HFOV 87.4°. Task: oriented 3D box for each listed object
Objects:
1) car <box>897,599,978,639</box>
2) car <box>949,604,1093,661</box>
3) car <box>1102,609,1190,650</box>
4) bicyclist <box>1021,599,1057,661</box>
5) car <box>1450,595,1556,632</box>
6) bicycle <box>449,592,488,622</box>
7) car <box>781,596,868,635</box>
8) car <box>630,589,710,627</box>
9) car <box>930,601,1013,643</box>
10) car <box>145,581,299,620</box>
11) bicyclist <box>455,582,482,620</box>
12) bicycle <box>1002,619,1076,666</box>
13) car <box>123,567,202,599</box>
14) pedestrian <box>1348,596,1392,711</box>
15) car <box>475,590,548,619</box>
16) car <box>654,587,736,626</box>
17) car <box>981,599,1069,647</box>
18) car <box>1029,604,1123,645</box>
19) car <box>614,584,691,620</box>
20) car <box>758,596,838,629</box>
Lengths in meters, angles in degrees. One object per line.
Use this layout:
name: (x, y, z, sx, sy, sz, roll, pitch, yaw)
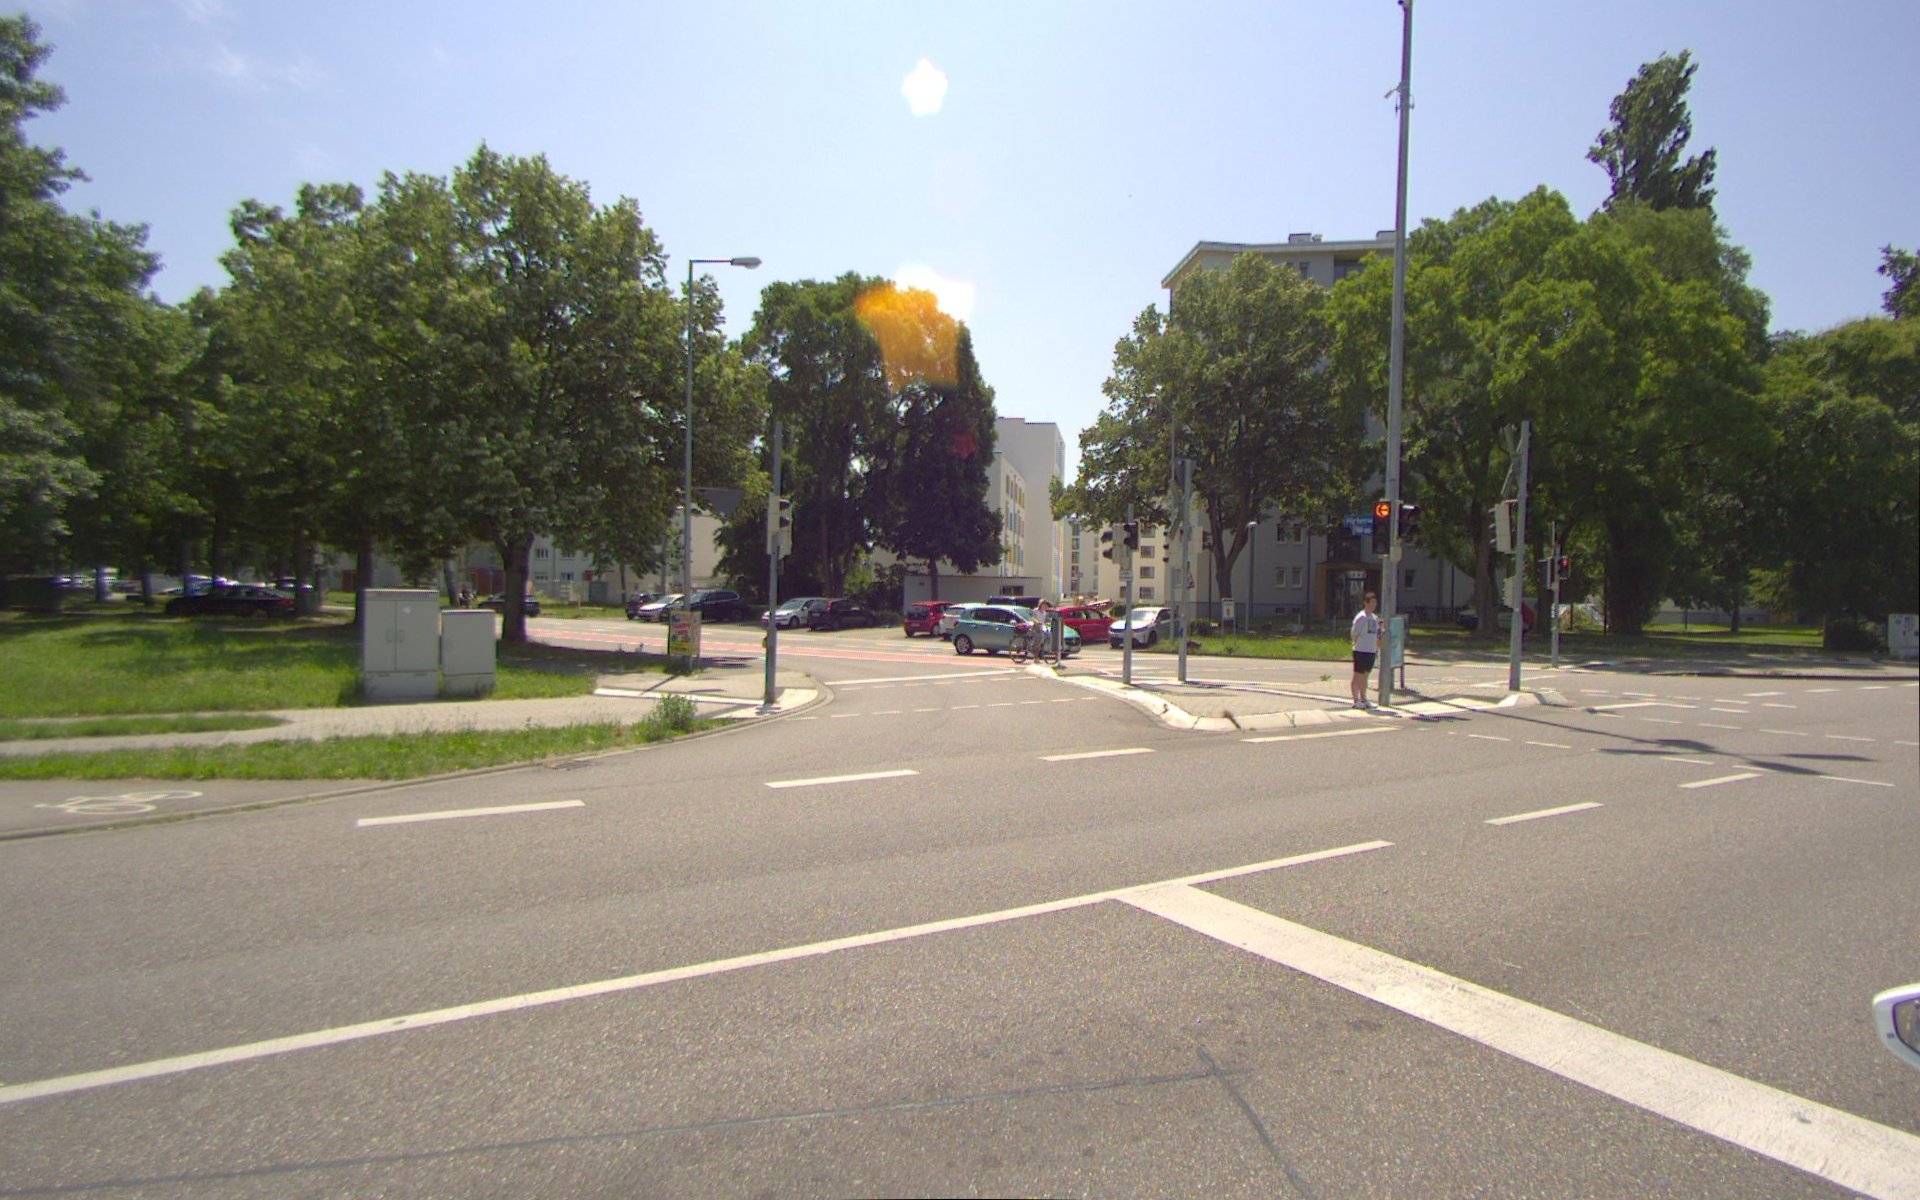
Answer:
car: (-0.968, 0.832, 45.153, 1.819, 1.690, 3.993, 1, 0, 30)
car: (1.745, 0.892, 29.249, 3.834, 1.488, 1.769, 1, 1, 36)
car: (7.135, 1.062, 38.194, 1.604, 1.399, 3.983, 3, 2, 38)
bicyclist: (2.025, 0.768, 25.815, 0.655, 1.557, 0.628, 1, 1, 38)
car: (27.973, 0.683, 51.898, 4.456, 1.791, 1.793, 1, 0, 10)
bicycle: (-22.241, 0.311, 45.441, 2.028, 1.317, 0.770, 1, 1, 38)
car: (-6.435, 0.726, 48.078, 1.823, 1.734, 3.984, 1, 0, 37)
car: (-16.153, 0.440, 56.103, 1.823, 1.974, 3.984, 3, 2, 37)
car: (0.547, 0.904, 43.110, 1.681, 1.613, 3.989, 3, 1, 33)
car: (-29.293, 0.028, 40.029, 4.504, 1.487, 1.995, 0, 1, -13)
bicyclist: (-22.245, 0.051, 45.451, 0.883, 1.715, 0.770, 1, 1, 37)
bicycle: (2.025, 1.072, 25.806, 1.840, 1.108, 0.643, 1, 1, 38)
car: (-55.052, -1.135, 69.388, 1.970, 2.041, 3.981, 6, 4, 39)
pedestrian: (6.218, 0.792, 15.240, 0.481, 1.710, 0.380, 0, 1, -34)
car: (-26.081, 0.252, 58.324, 4.555, 1.519, 1.906, 1, 1, 36)
car: (-14.226, 0.327, 54.078, 1.823, 1.974, 3.984, 3, 2, 37)
car: (2.762, 0.924, 41.896, 1.683, 1.825, 3.984, 3, 2, 37)
car: (4.639, 0.924, 39.899, 1.600, 1.483, 3.976, 3, 2, 43)
car: (-17.948, 0.118, 58.808, 1.823, 1.974, 3.984, 3, 2, 37)
car: (-8.049, 0.620, 50.102, 1.667, 1.583, 3.822, 1, 0, 38)
